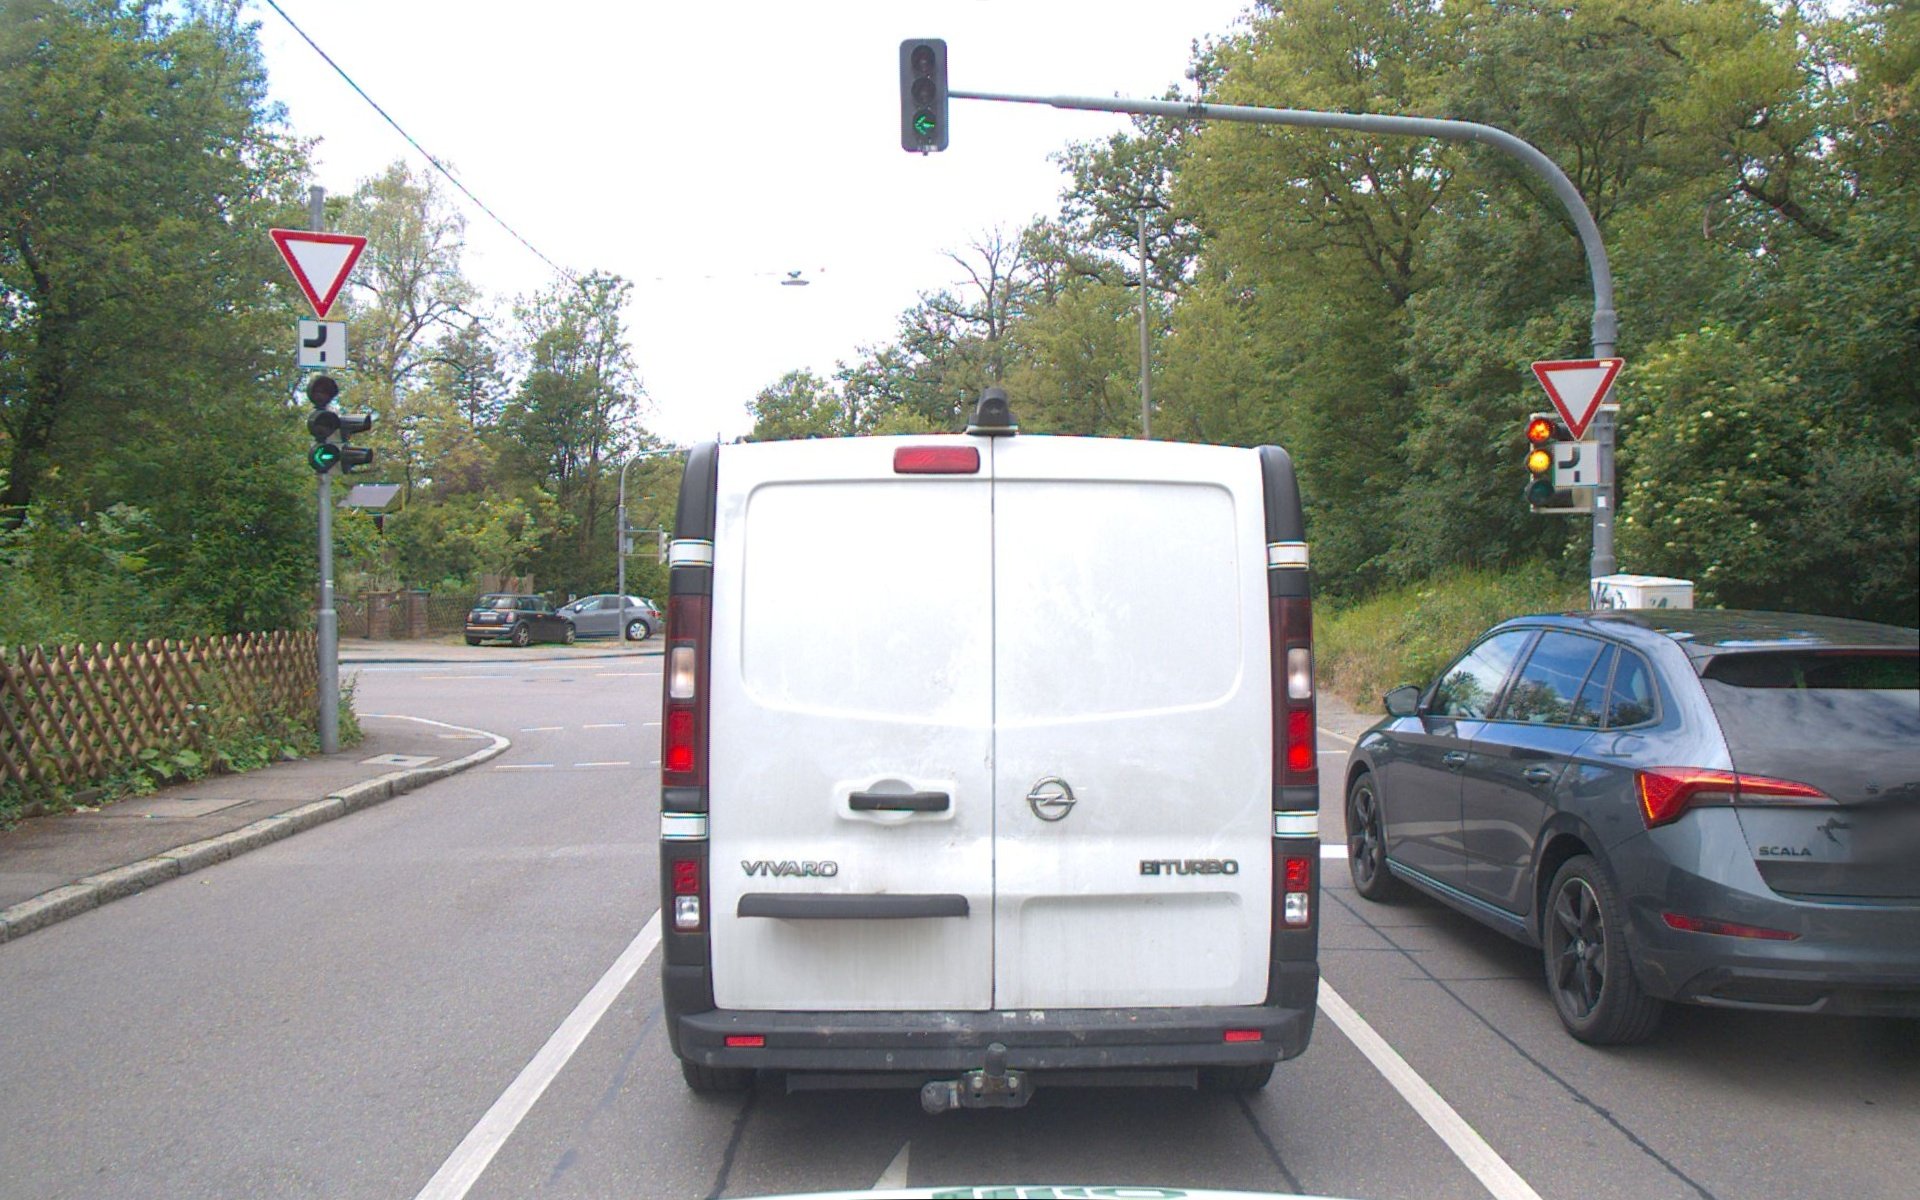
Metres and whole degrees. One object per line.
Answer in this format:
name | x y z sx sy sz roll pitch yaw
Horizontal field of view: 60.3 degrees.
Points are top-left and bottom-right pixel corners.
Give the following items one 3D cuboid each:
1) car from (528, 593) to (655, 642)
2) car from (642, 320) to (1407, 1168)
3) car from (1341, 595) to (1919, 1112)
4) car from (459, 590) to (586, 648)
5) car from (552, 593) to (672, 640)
car | -12.433 0.575 55.758 4.023 1.580 1.845 0 1 -18
car | 0.058 0.360 6.452 1.878 2.089 4.611 1 0 -3
car | 2.969 0.725 6.817 1.756 1.476 3.999 0 0 -2
car | -12.011 0.499 45.628 1.662 1.474 3.544 2 0 19
car | -12.387 0.571 58.830 4.023 1.580 1.845 0 1 -18
